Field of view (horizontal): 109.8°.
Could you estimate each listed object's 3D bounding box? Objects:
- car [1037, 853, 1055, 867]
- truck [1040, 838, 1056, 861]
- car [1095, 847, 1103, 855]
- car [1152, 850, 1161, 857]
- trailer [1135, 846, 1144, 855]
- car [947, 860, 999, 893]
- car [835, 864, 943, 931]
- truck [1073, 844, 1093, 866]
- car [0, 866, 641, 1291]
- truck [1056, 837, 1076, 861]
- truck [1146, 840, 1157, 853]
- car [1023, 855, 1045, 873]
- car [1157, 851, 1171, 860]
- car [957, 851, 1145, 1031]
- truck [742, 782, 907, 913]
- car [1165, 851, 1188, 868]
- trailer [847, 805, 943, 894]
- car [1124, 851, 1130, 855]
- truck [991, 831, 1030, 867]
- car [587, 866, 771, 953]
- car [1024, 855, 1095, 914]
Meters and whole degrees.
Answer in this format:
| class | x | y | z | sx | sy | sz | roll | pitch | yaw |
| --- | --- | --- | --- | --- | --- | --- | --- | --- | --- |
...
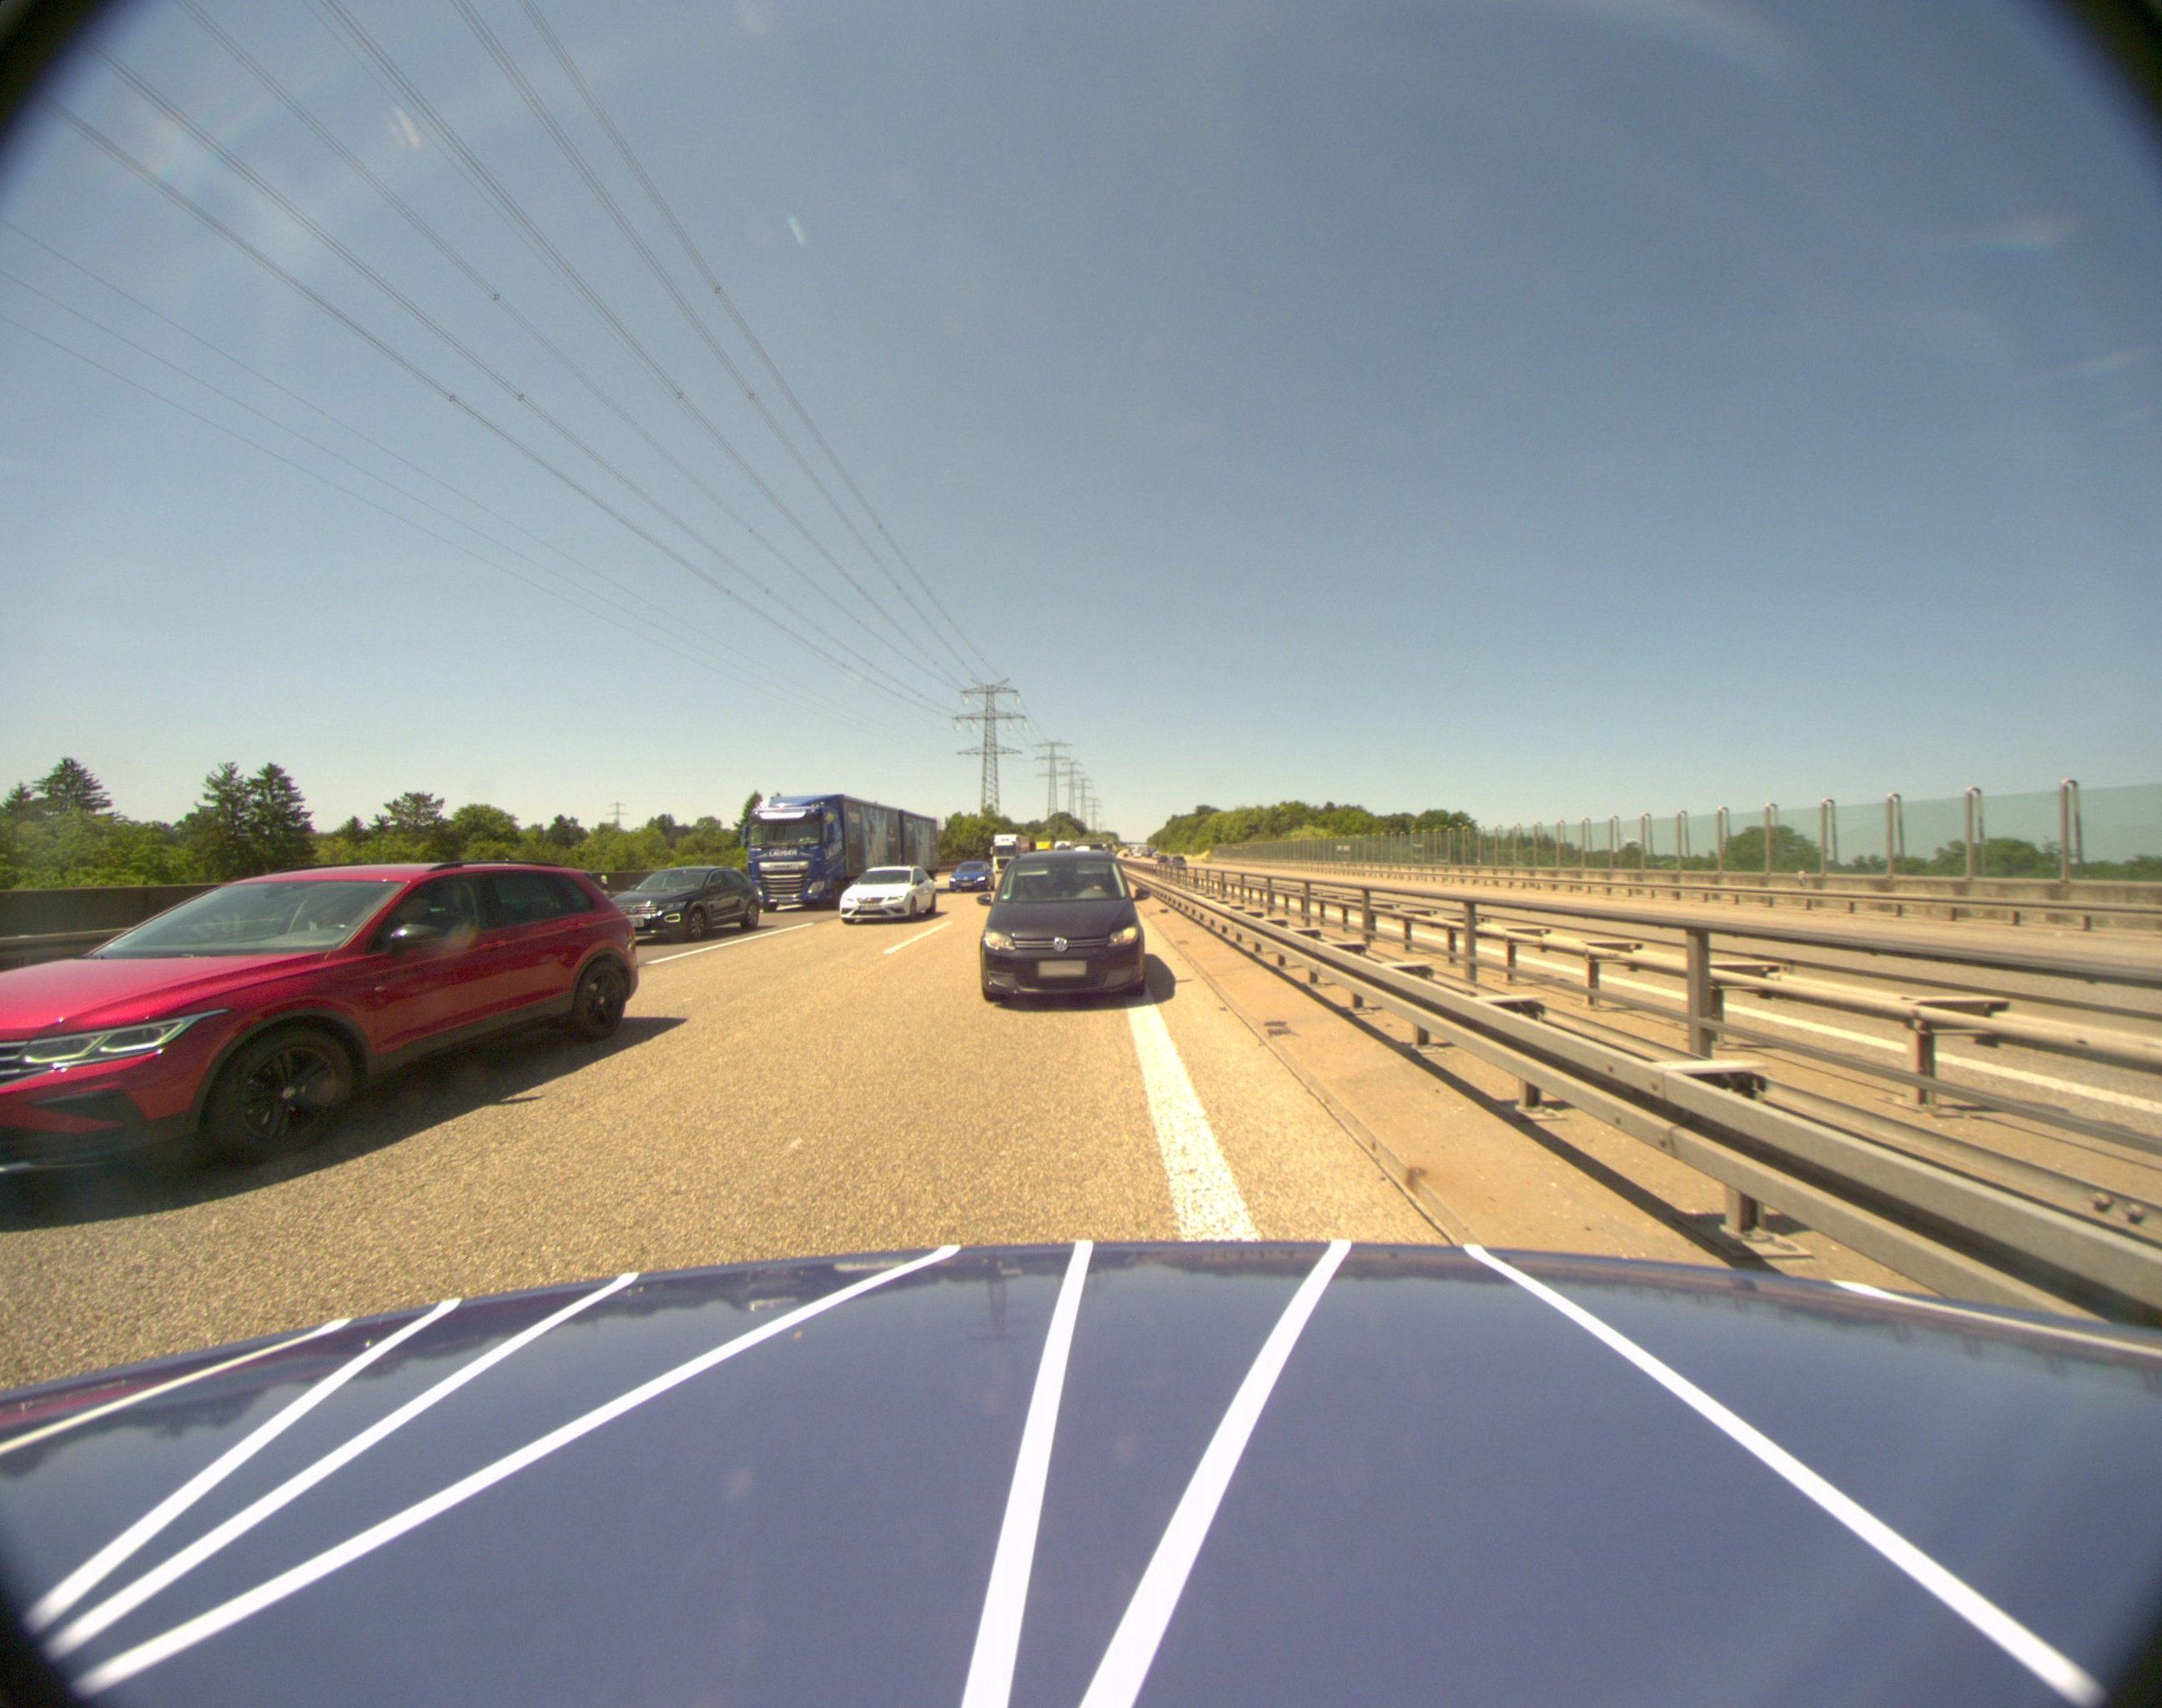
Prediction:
| class | x | y | z | sx | sy | sz | roll | pitch | yaw |
| --- | --- | --- | --- | --- | --- | --- | --- | --- | --- |
| car | -3.960 | 0.687 | 85.847 | 1.763 | 1.495 | 4.094 | -1 | 0 | 0 |
| truck | -6.061 | -0.820 | 139.704 | 2.346 | 4.058 | 8.278 | -2 | 1 | 1 |
| car | 4.436 | -0.738 | 190.492 | 1.998 | 2.002 | 4.000 | -2 | 1 | 1 |
| car | 21.351 | -0.237 | 214.580 | 1.998 | 2.002 | 4.000 | -1 | 0 | 1 |
| trailer | 19.047 | -1.149 | 247.655 | 2.322 | 2.690 | 6.361 | 1 | 0 | 1 |
| car | -5.229 | 1.059 | 37.281 | 1.739 | 1.437 | 4.211 | -2 | 0 | 2 |
| car | -5.012 | 1.072 | 20.422 | 1.843 | 1.481 | 4.071 | -2 | 0 | -1 |
| truck | 0.292 | 0.123 | 90.798 | 2.284 | 2.479 | 5.861 | -2 | 0 | 1 |
| car | -5.176 | 0.976 | 5.211 | 1.779 | 1.652 | 4.224 | -2 | 0 | 0 |
| truck | -2.509 | -0.842 | 129.685 | 2.980 | 3.832 | 10.561 | -2 | 1 | 1 |
| truck | 22.706 | -2.552 | 244.926 | 2.876 | 4.062 | 9.989 | 1 | 1 | 2 |
| car | -4.305 | 0.935 | 70.665 | 1.763 | 1.494 | 4.094 | -3 | 0 | 0 |
| car | 15.064 | 0.305 | 138.282 | 1.999 | 1.662 | 4.186 | 1 | 0 | 0 |
| car | -0.271 | 0.826 | 9.274 | 1.740 | 1.652 | 3.999 | -2 | 1 | 0 |
| truck | -9.243 | -0.234 | 29.061 | 2.529 | 4.043 | 10.446 | -1 | 0 | 1 |
| car | 9.961 | 0.525 | 79.344 | 1.810 | 1.618 | 4.477 | -3 | 0 | 0 |
| trailer | -9.158 | -0.212 | 38.544 | 2.572 | 3.921 | 8.479 | -2 | 0 | 1 |
| car | 15.764 | -0.352 | 260.267 | 1.772 | 1.411 | 4.266 | 0 | 0 | 1 |
| truck | -7.647 | -0.553 | 84.171 | 2.985 | 3.538 | 10.967 | -2 | 1 | 1 |
| car | -8.607 | 1.109 | 16.736 | 1.740 | 1.518 | 4.106 | -2 | 0 | 1 |
| car | -0.550 | 0.819 | 22.386 | 1.845 | 1.495 | 4.377 | -1 | 0 | 1 |
